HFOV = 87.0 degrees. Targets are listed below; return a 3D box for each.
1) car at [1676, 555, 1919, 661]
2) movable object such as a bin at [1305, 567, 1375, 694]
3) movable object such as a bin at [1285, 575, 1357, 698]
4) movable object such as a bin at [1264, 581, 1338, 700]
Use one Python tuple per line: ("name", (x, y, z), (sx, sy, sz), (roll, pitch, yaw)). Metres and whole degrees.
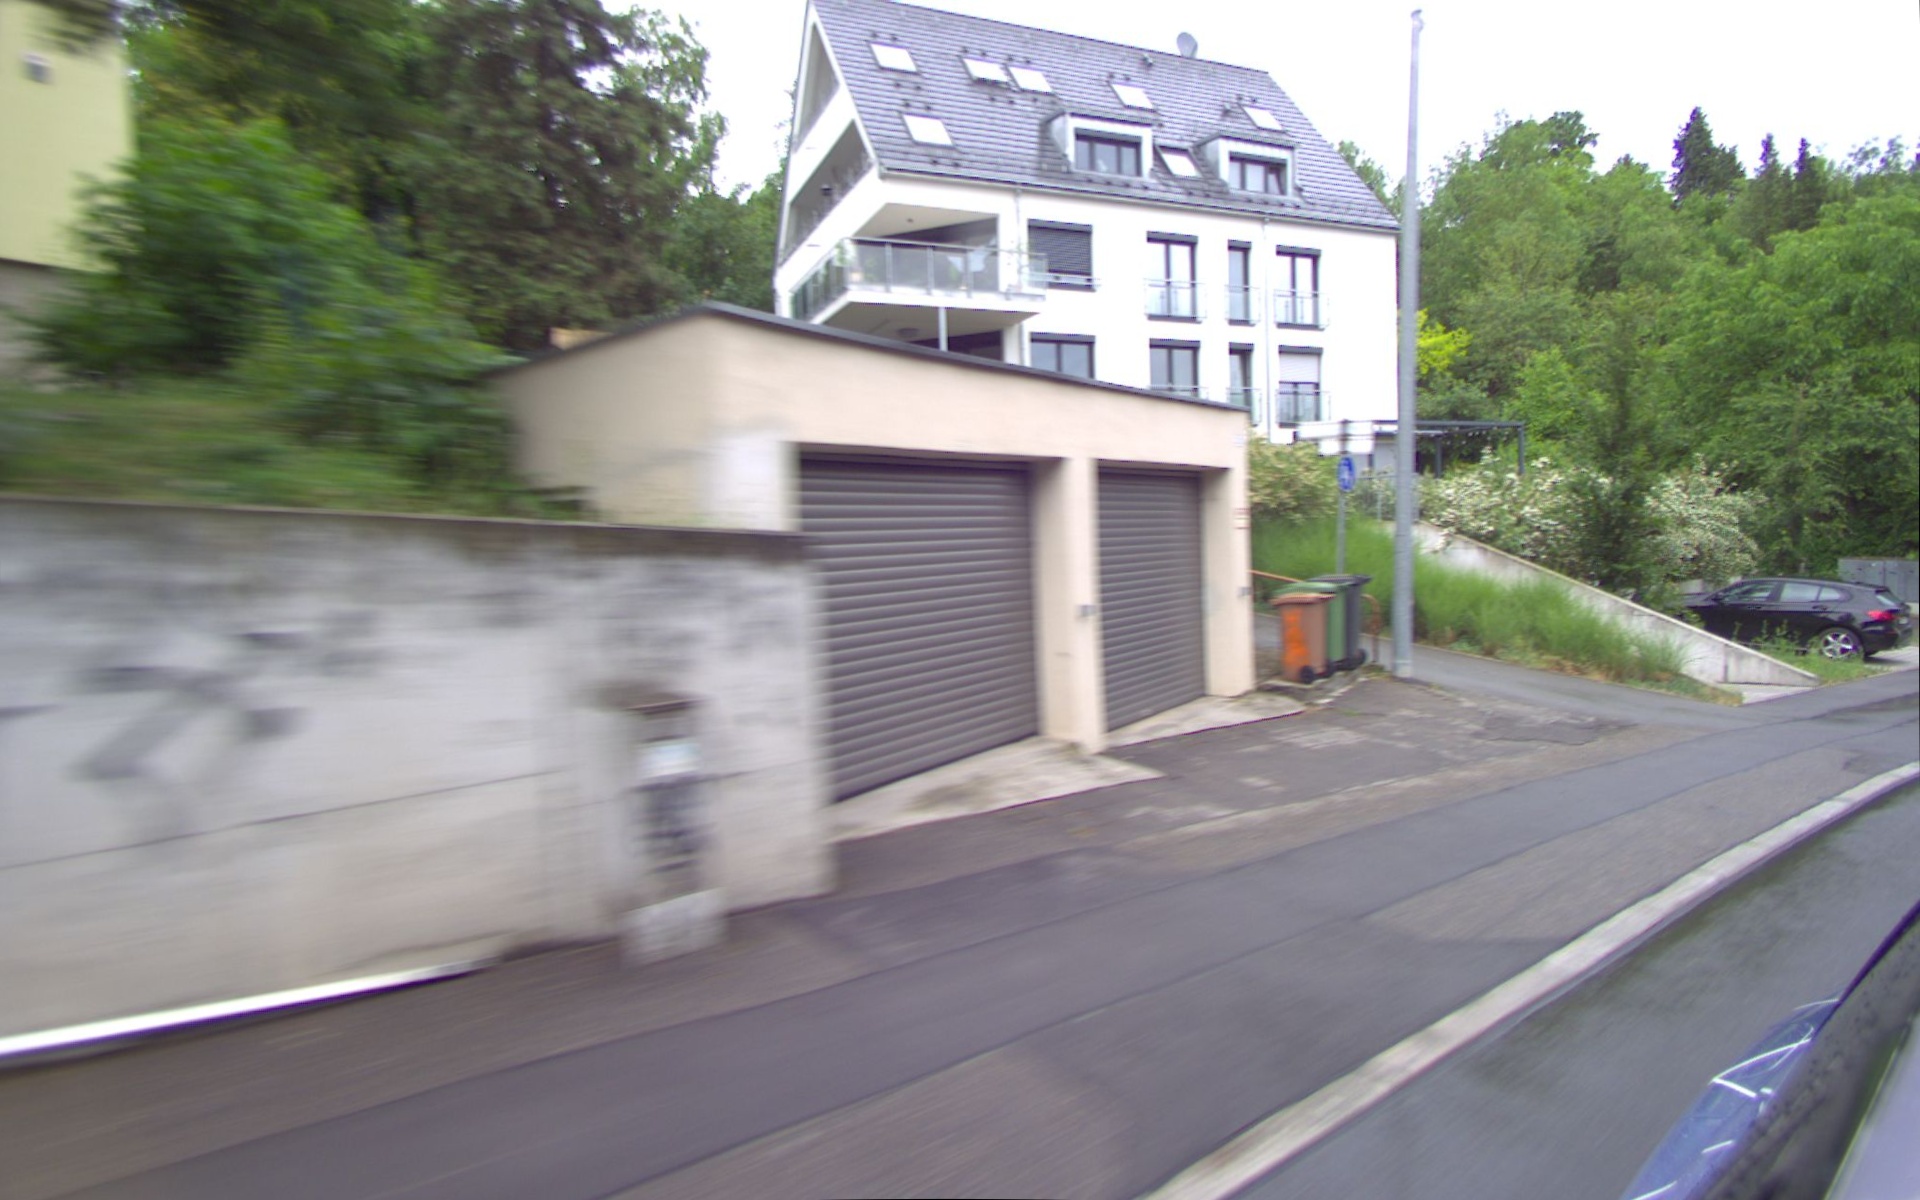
("car", (15.901, 0.056, 19.132), (1.550, 1.651, 3.471), (-1, 5, -36))
("movable object such as a bin", (4.252, 0.318, 11.330), (0.553, 1.367, 0.456), (3, 3, 44))
("movable object such as a bin", (3.910, 0.376, 10.970), (0.563, 1.283, 0.446), (3, 3, 44))
("movable object such as a bin", (3.572, 0.406, 10.607), (0.573, 1.190, 0.436), (3, 3, 44))
